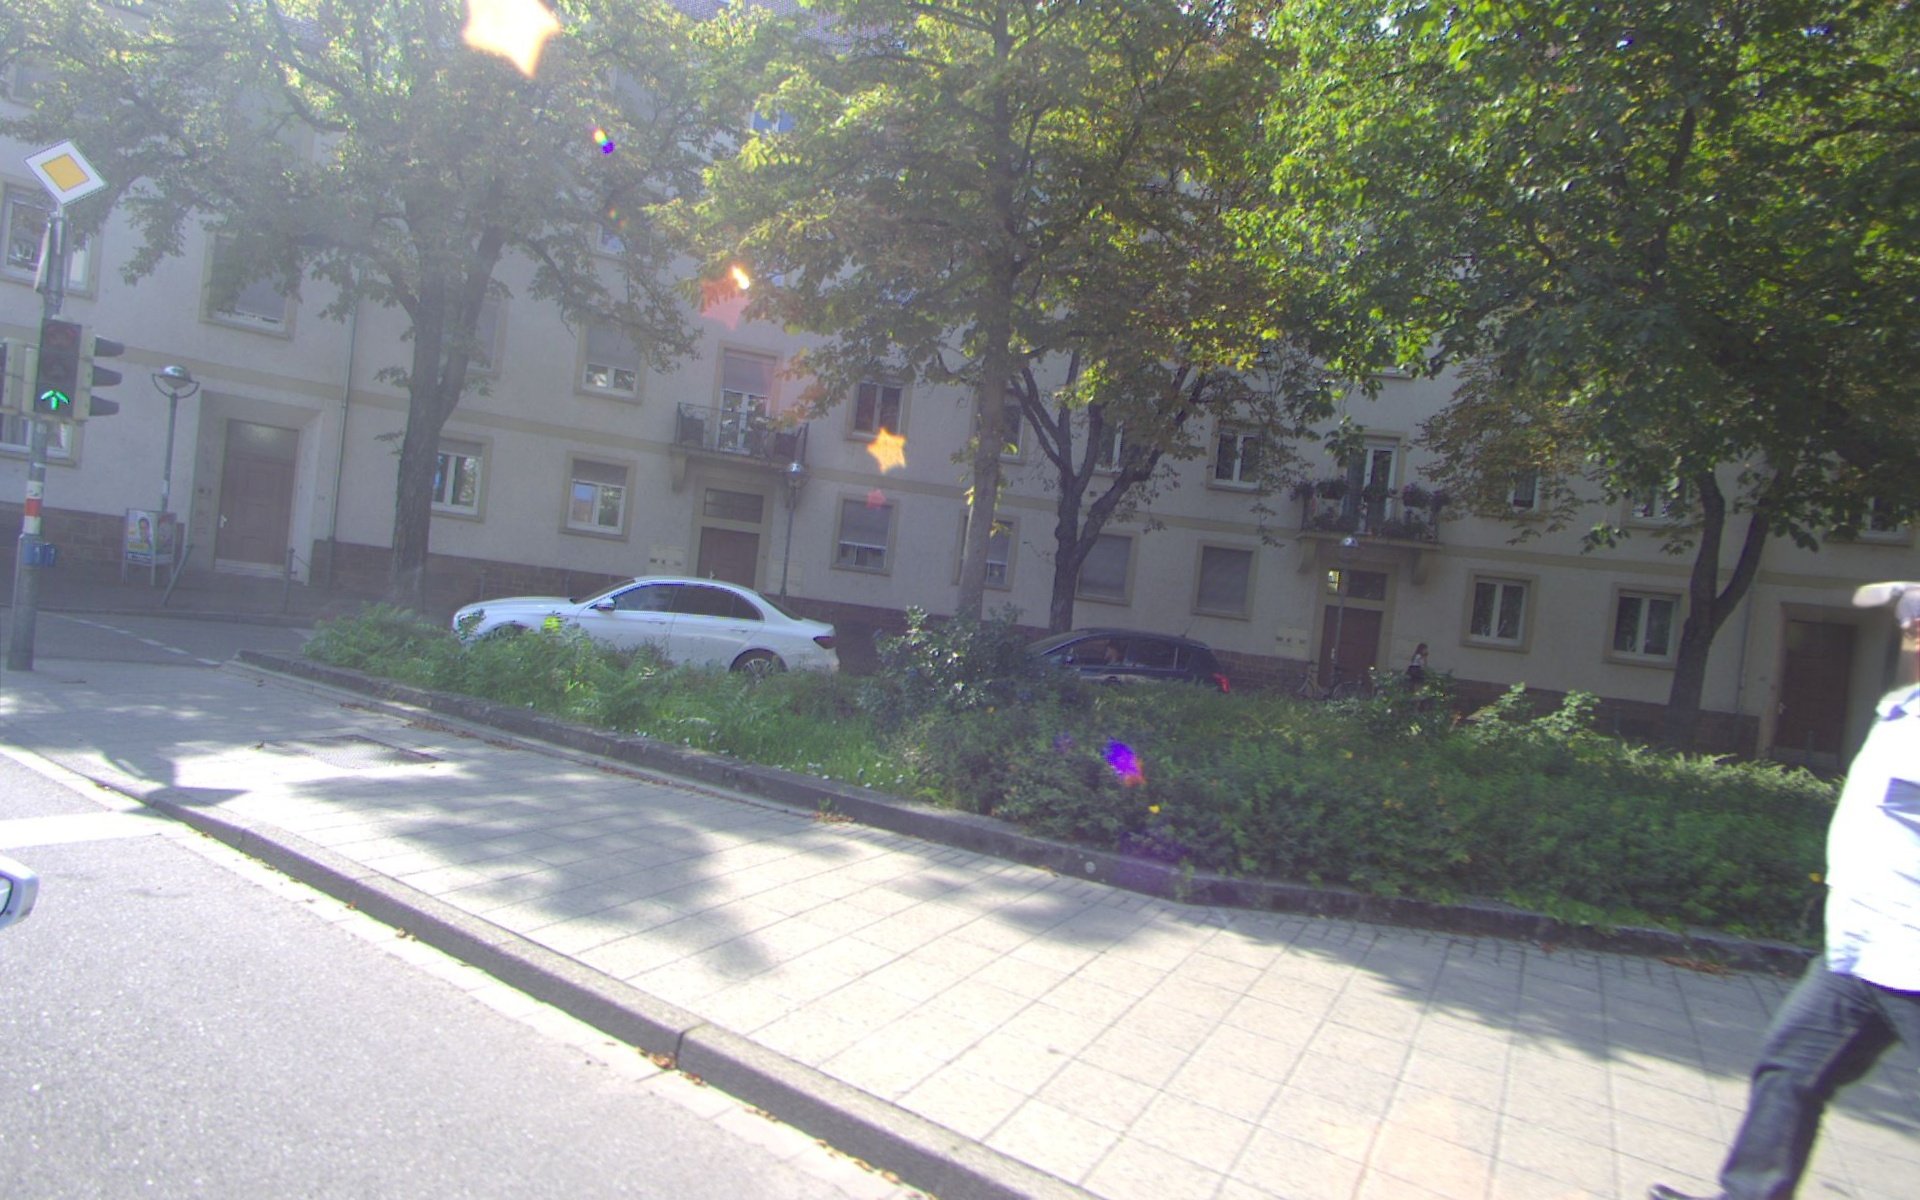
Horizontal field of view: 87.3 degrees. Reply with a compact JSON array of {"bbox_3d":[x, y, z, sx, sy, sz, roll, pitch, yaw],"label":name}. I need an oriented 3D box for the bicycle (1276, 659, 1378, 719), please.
[{"bbox_3d":[7.830,1.888,21.530,1.873,1.019,0.534,7,1,11],"label":"bicycle"}]

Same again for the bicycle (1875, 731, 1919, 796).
[{"bbox_3d":[17.583,3.018,18.148,1.465,1.073,0.415,6,1,36],"label":"bicycle"}]

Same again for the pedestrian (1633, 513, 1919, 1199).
[{"bbox_3d":[2.149,0.763,2.140,0.953,1.748,1.076,7,4,31],"label":"pedestrian"}]

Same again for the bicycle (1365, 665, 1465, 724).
[{"bbox_3d":[10.126,2.095,22.450,1.873,1.019,0.534,7,1,14],"label":"bicycle"}]

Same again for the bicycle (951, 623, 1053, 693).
[{"bbox_3d":[0.806,1.114,19.524,1.806,1.071,0.608,9,1,0],"label":"bicycle"}]

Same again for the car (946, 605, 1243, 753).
[{"bbox_3d":[1.803,1.071,14.381,3.819,1.470,1.750,7,2,-3],"label":"car"}]

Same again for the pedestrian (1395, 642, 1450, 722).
[{"bbox_3d":[10.456,1.842,22.760,0.850,1.692,0.688,7,1,17],"label":"pedestrian"}]

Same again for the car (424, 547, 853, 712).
[{"bbox_3d":[-4.041,0.379,13.170,4.880,1.488,1.867,7,3,-18],"label":"car"}]
